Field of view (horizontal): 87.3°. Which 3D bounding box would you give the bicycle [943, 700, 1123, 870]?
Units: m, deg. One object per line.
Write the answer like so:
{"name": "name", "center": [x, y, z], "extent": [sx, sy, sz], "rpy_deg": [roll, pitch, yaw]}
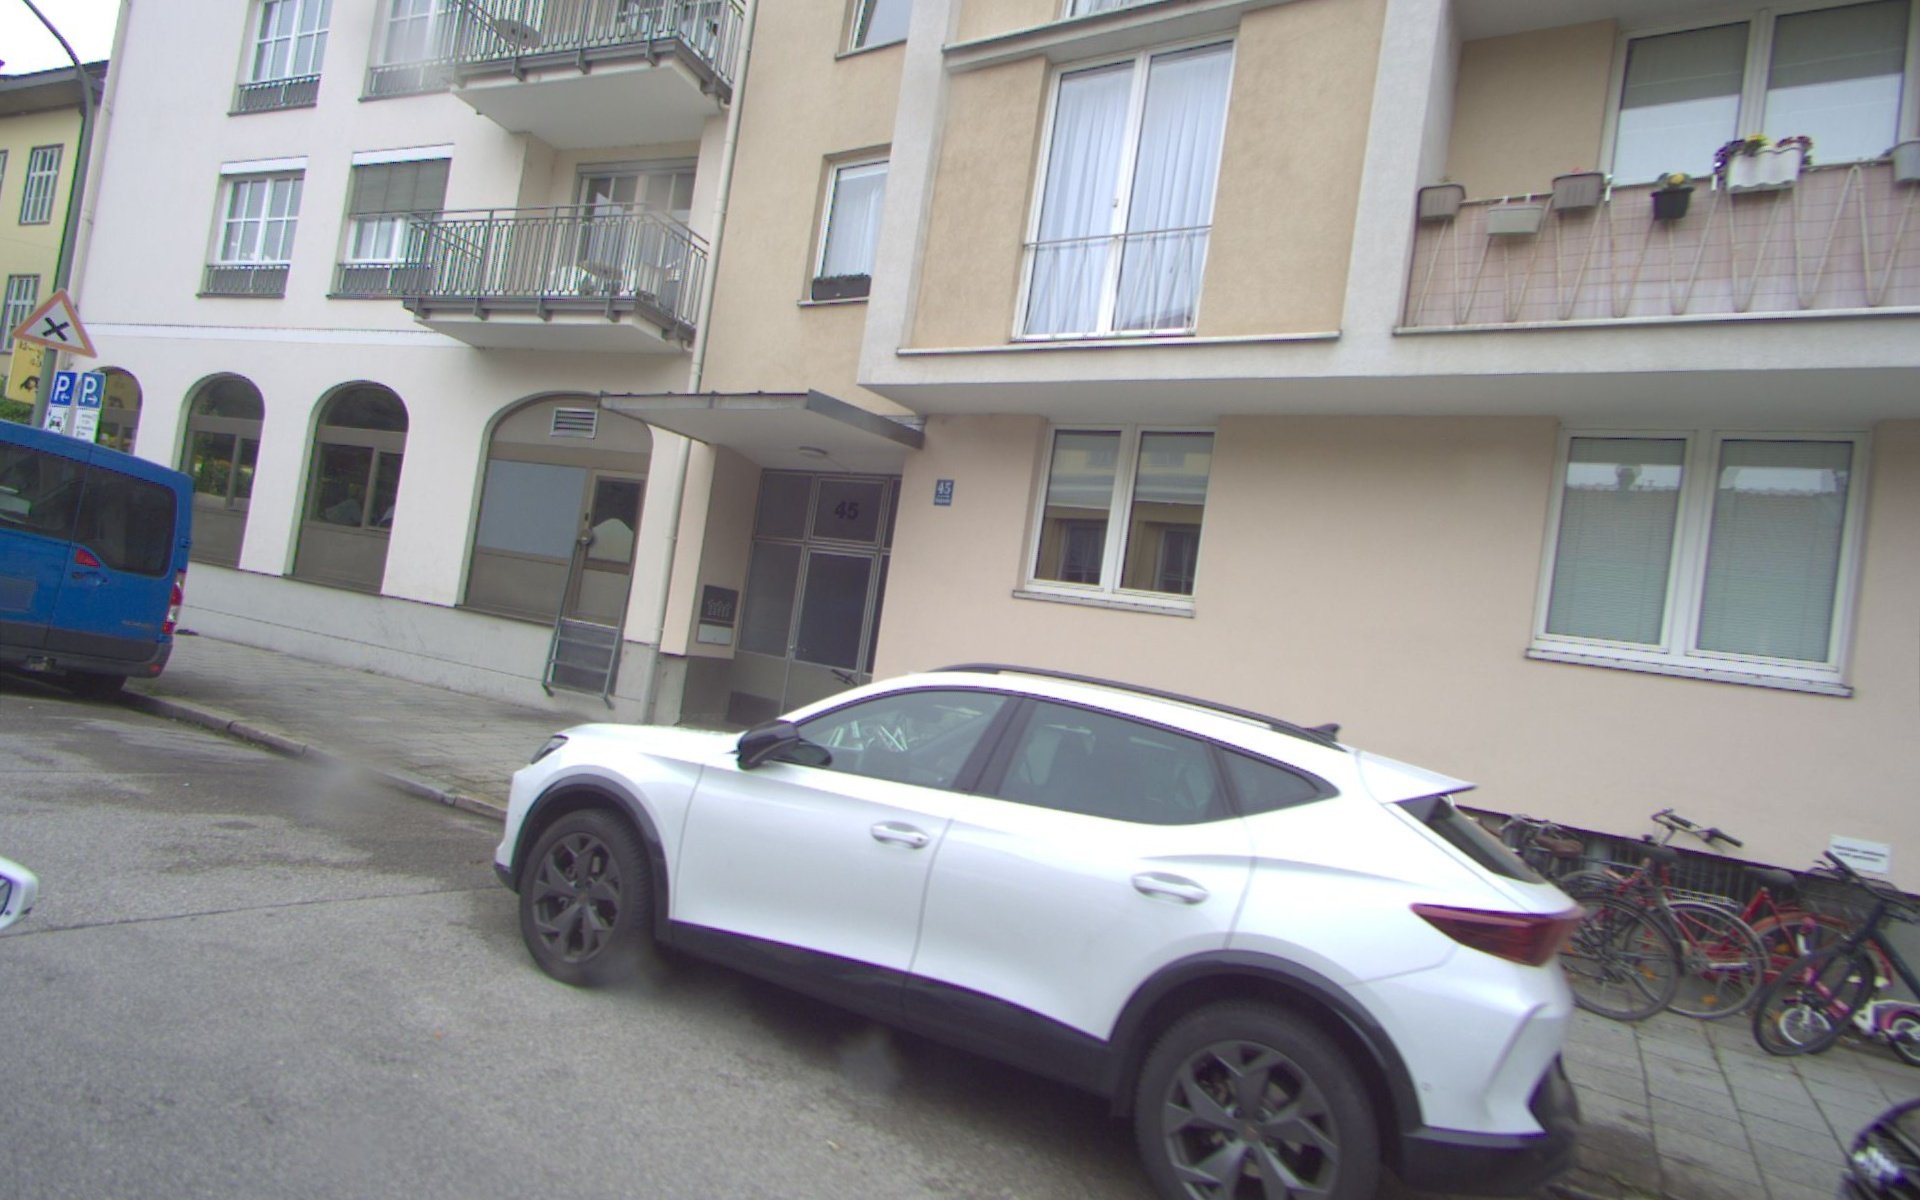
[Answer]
{"name": "bicycle", "center": [0.581, 1.446, 8.038], "extent": [1.277, 1.115, 0.395], "rpy_deg": [6, 2, 16]}

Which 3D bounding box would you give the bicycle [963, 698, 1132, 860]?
{"name": "bicycle", "center": [0.734, 1.501, 8.654], "extent": [1.325, 1.115, 0.369], "rpy_deg": [6, 2, 33]}

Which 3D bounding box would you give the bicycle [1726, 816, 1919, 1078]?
{"name": "bicycle", "center": [5.294, 2.008, 5.767], "extent": [1.322, 1.217, 0.392], "rpy_deg": [7, 2, 37]}

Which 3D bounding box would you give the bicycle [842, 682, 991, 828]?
{"name": "bicycle", "center": [-0.425, 1.417, 9.410], "extent": [1.325, 1.115, 0.369], "rpy_deg": [6, 2, 33]}

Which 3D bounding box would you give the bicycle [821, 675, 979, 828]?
{"name": "bicycle", "center": [-0.555, 1.321, 9.027], "extent": [1.365, 1.115, 0.369], "rpy_deg": [6, 2, 33]}

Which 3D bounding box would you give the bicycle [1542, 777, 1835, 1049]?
{"name": "bicycle", "center": [4.294, 1.798, 6.014], "extent": [1.265, 1.217, 0.417], "rpy_deg": [7, 2, 36]}

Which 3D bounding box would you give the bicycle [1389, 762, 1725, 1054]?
{"name": "bicycle", "center": [3.448, 1.718, 5.937], "extent": [0.395, 1.217, 1.548], "rpy_deg": [4, 2, -42]}

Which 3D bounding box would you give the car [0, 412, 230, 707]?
{"name": "car", "center": [-9.828, -0.499, 9.705], "extent": [4.939, 2.233, 2.121], "rpy_deg": [5, -7, 26]}

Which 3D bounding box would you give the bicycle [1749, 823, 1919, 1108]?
{"name": "bicycle", "center": [4.927, 1.893, 5.053], "extent": [1.347, 1.217, 0.447], "rpy_deg": [6, 2, 30]}

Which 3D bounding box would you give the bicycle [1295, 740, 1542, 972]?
{"name": "bicycle", "center": [3.132, 1.698, 6.939], "extent": [1.373, 1.217, 0.446], "rpy_deg": [7, 2, 38]}

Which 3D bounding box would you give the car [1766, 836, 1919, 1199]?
{"name": "car", "center": [4.272, 1.592, 1.417], "extent": [4.616, 1.442, 1.780], "rpy_deg": [7, -7, 33]}

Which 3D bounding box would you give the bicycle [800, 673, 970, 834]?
{"name": "bicycle", "center": [-0.648, 1.265, 8.525], "extent": [1.323, 1.115, 0.392], "rpy_deg": [6, 2, 27]}

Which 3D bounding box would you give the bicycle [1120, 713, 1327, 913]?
{"name": "bicycle", "center": [2.017, 1.596, 7.802], "extent": [1.373, 1.217, 0.446], "rpy_deg": [7, 2, 38]}

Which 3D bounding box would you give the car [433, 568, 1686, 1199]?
{"name": "car", "center": [0.149, 1.042, 4.165], "extent": [4.228, 1.537, 1.785], "rpy_deg": [8, -6, 26]}
